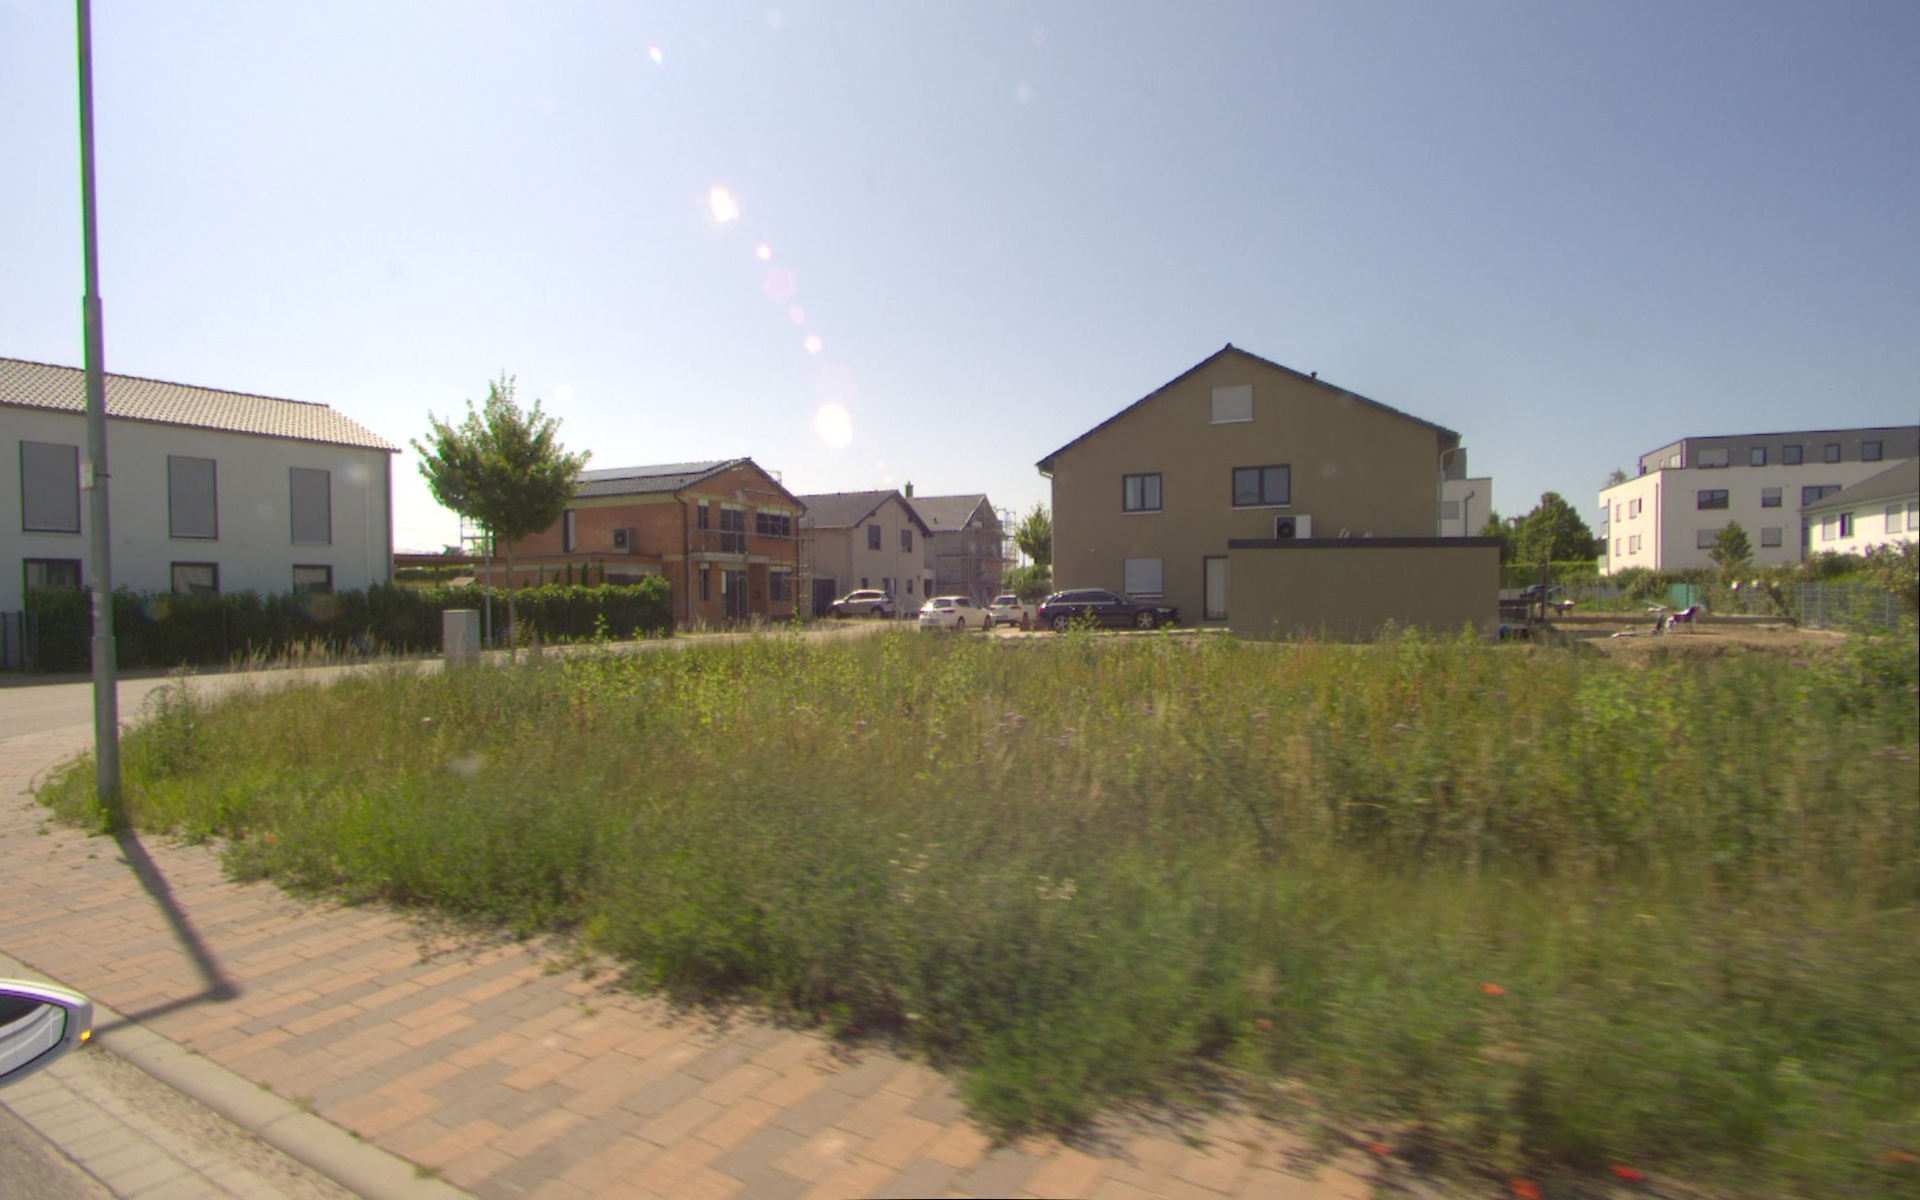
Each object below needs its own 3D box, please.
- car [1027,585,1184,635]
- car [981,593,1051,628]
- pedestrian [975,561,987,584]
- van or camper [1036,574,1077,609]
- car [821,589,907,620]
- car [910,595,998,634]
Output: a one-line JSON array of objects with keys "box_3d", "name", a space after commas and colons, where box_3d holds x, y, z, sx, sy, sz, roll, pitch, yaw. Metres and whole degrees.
[{"box_3d": [4.877, 0.337, 33.659, 4.828, 1.444, 1.992, -3, 0, 27], "name": "car"}, {"box_3d": [2.675, 0.456, 46.694, 1.756, 1.445, 4.499, -2, 0, 24], "name": "car"}, {"box_3d": [1.618, -2.074, 75.769, 0.736, 1.701, 0.577, 0, -1, -21], "name": "pedestrian"}, {"box_3d": [7.615, -0.600, 78.173, 2.238, 2.587, 6.360, -1, 0, 14], "name": "van or camper"}, {"box_3d": [-5.338, 0.247, 55.693, 4.363, 1.633, 1.995, -1, 1, 21], "name": "car"}, {"box_3d": [-0.169, 0.569, 41.034, 1.791, 1.475, 4.548, -2, 0, 25], "name": "car"}]
